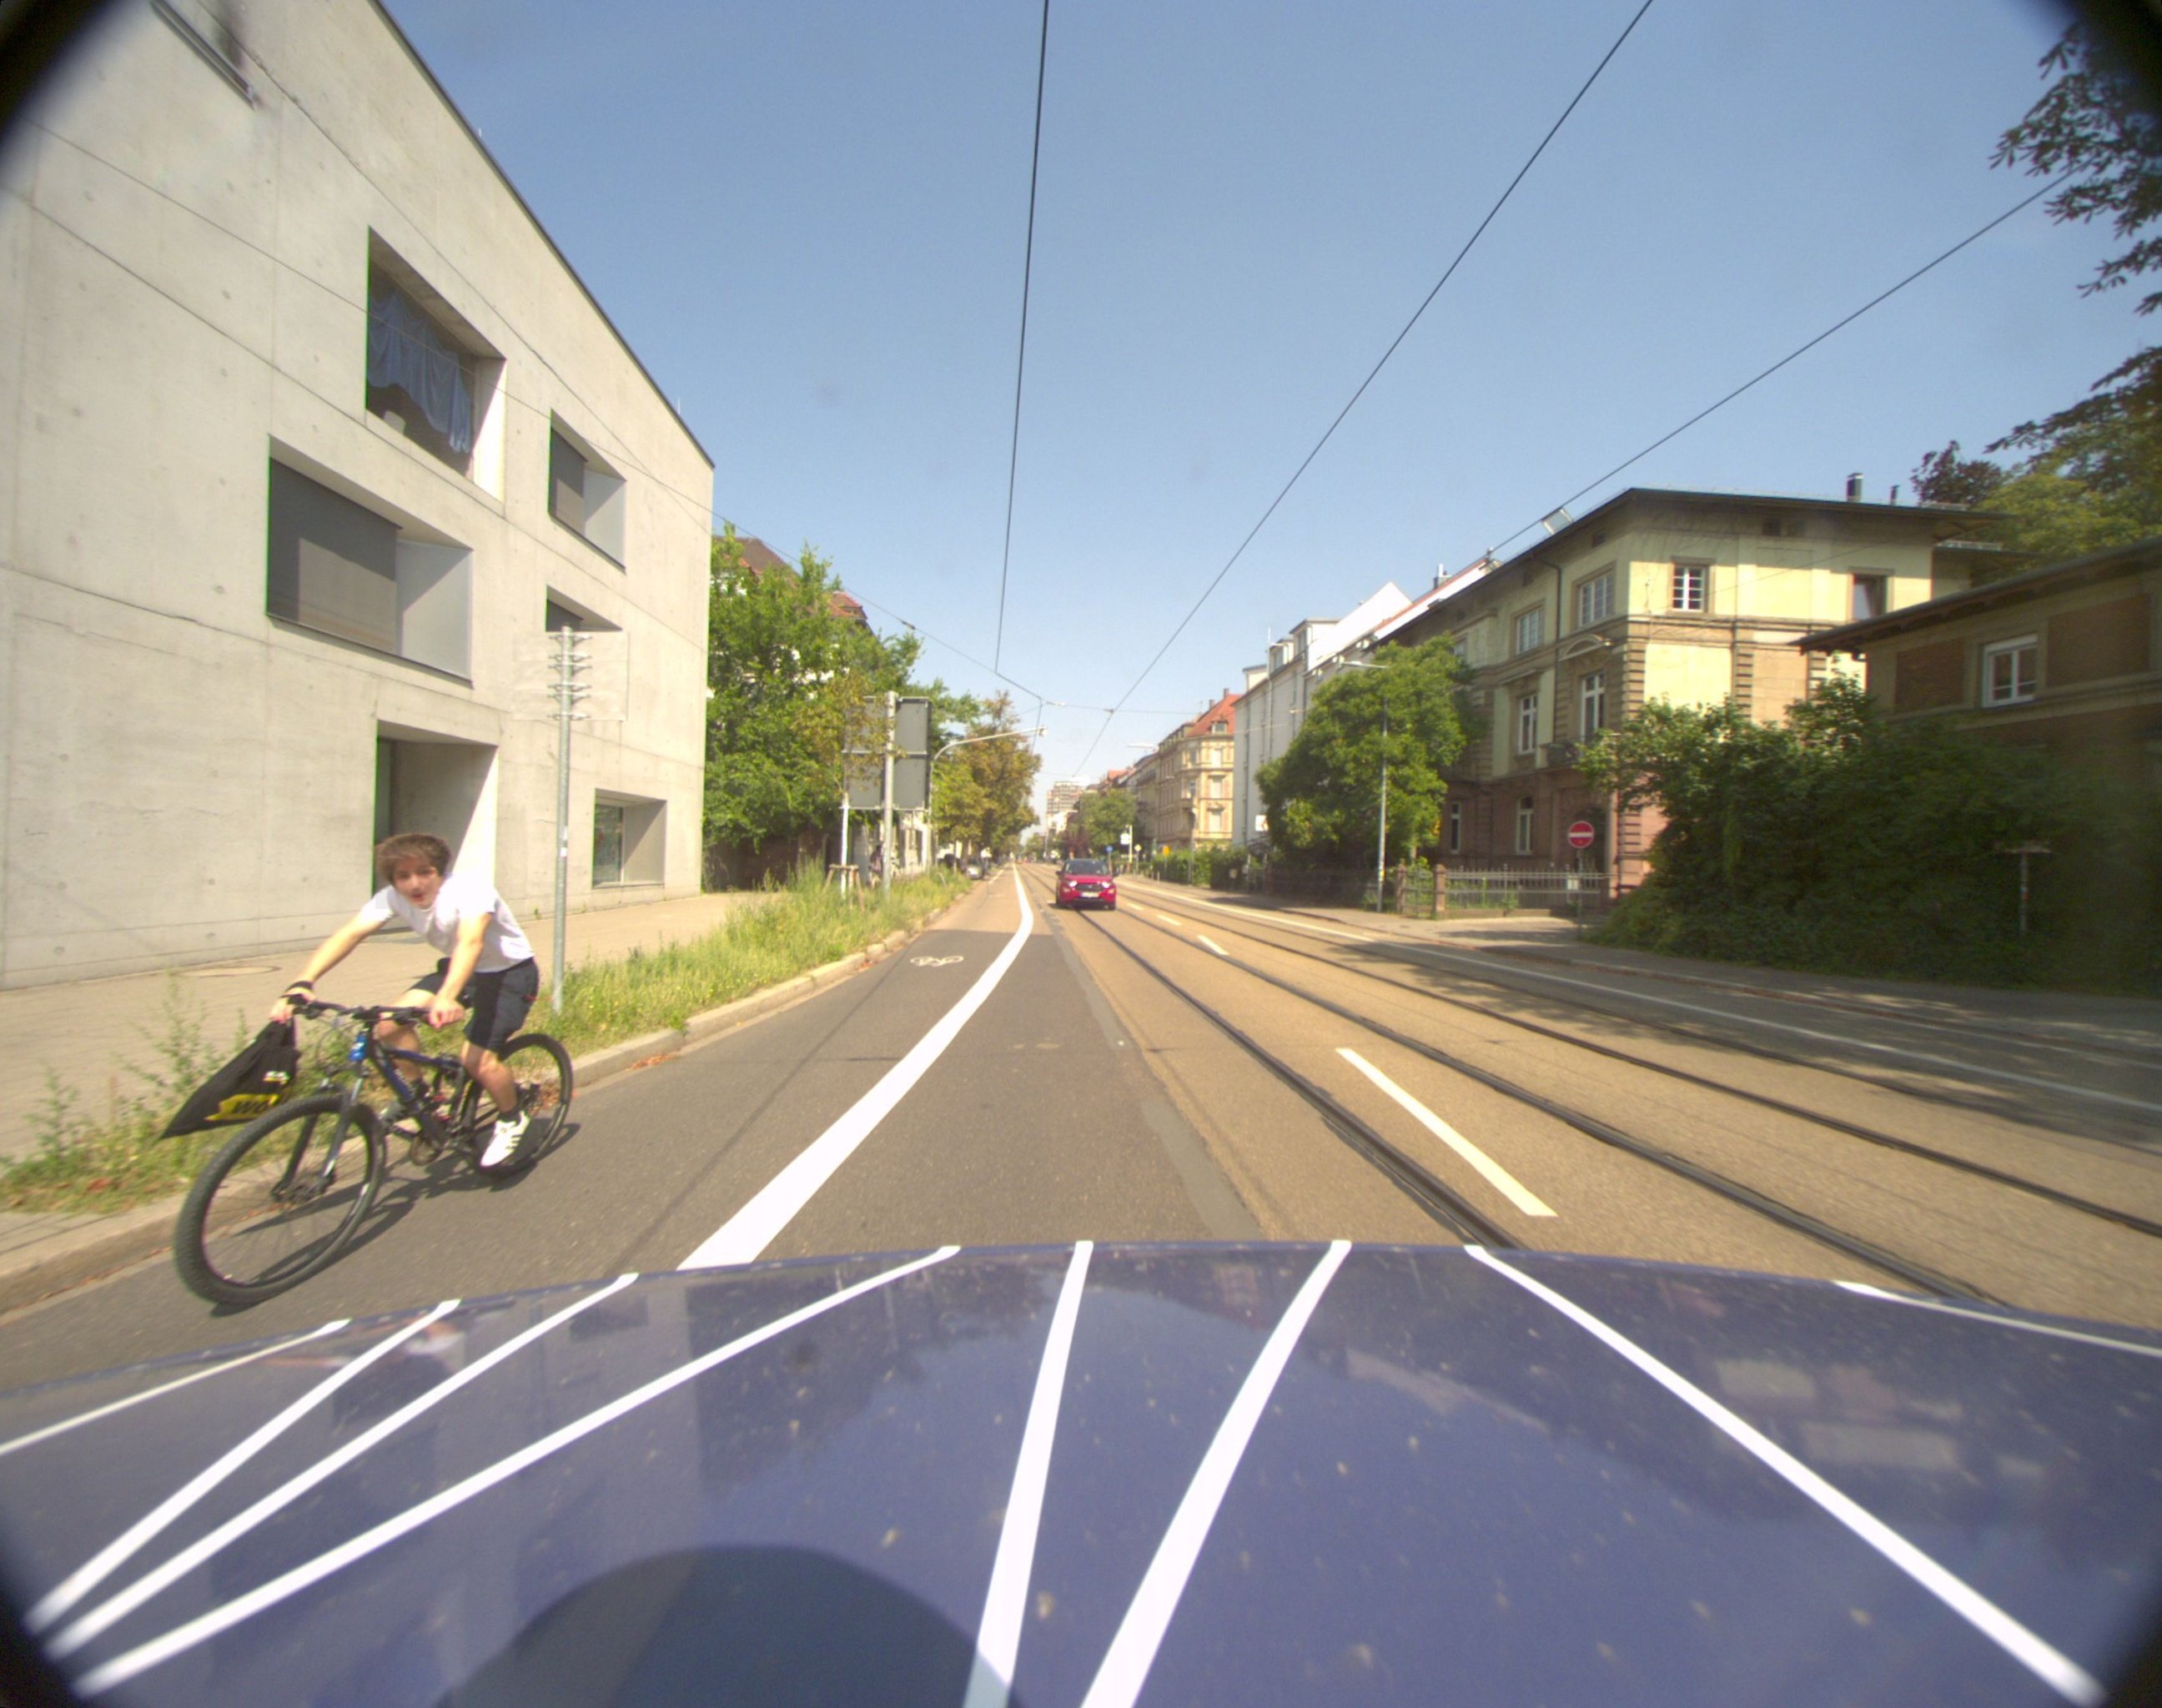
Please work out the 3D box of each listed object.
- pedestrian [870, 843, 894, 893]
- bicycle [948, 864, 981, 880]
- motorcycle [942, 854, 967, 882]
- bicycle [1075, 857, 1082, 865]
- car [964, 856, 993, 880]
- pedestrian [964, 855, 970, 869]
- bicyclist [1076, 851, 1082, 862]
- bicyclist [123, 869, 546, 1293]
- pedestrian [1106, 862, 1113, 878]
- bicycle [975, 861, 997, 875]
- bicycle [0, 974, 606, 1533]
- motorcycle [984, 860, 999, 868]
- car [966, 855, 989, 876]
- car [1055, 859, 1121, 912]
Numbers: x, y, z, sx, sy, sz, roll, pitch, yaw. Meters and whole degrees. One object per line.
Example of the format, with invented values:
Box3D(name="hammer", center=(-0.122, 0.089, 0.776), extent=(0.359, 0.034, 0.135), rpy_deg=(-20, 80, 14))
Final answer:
Box3D(name="pedestrian", center=(-7.080, 0.497, 27.081), extent=(0.694, 1.722, 0.579), rpy_deg=(2, 0, -3))
Box3D(name="bicycle", center=(-7.299, 1.122, 47.688), extent=(1.928, 0.947, 0.720), rpy_deg=(2, 0, -2))
Box3D(name="motorcycle", center=(-7.306, 0.820, 44.071), extent=(0.888, 1.544, 2.412), rpy_deg=(2, 0, 3))
Box3D(name="bicycle", center=(-0.300, 0.988, 102.236), extent=(0.642, 1.070, 1.914), rpy_deg=(2, 0, -7))
Box3D(name="car", center=(-6.817, 0.887, 50.816), extent=(1.788, 1.442, 4.748), rpy_deg=(2, 0, -7))
Box3D(name="pedestrian", center=(-14.494, 1.015, 96.701), extent=(0.749, 1.775, 0.632), rpy_deg=(2, 0, -5))
Box3D(name="bicyclist", center=(-0.285, 0.319, 102.274), extent=(0.657, 1.420, 0.974), rpy_deg=(2, 0, -7))
Box3D(name="bicyclist", center=(-2.849, 0.777, 3.044), extent=(0.747, 1.403, 0.961), rpy_deg=(1, 0, -5))
Box3D(name="pedestrian", center=(3.527, 1.951, 93.170), extent=(0.657, 2.002, 0.974), rpy_deg=(2, 0, -7))
Box3D(name="bicycle", center=(-7.934, 1.151, 63.559), extent=(1.760, 1.116, 0.655), rpy_deg=(2, 0, -6))
Box3D(name="bicycle", center=(-2.864, 1.162, 2.978), extent=(0.741, 1.042, 2.232), rpy_deg=(1, 0, -5))
Box3D(name="motorcycle", center=(-12.794, 1.413, 108.628), extent=(2.001, 1.009, 0.796), rpy_deg=(5, 0, -5))
Box3D(name="car", center=(-8.071, 0.876, 58.859), extent=(1.669, 1.498, 4.431), rpy_deg=(2, 0, -9))
Box3D(name="car", center=(0.137, 0.953, 24.480), extent=(1.816, 1.542, 4.020), rpy_deg=(1, 0, -4))
